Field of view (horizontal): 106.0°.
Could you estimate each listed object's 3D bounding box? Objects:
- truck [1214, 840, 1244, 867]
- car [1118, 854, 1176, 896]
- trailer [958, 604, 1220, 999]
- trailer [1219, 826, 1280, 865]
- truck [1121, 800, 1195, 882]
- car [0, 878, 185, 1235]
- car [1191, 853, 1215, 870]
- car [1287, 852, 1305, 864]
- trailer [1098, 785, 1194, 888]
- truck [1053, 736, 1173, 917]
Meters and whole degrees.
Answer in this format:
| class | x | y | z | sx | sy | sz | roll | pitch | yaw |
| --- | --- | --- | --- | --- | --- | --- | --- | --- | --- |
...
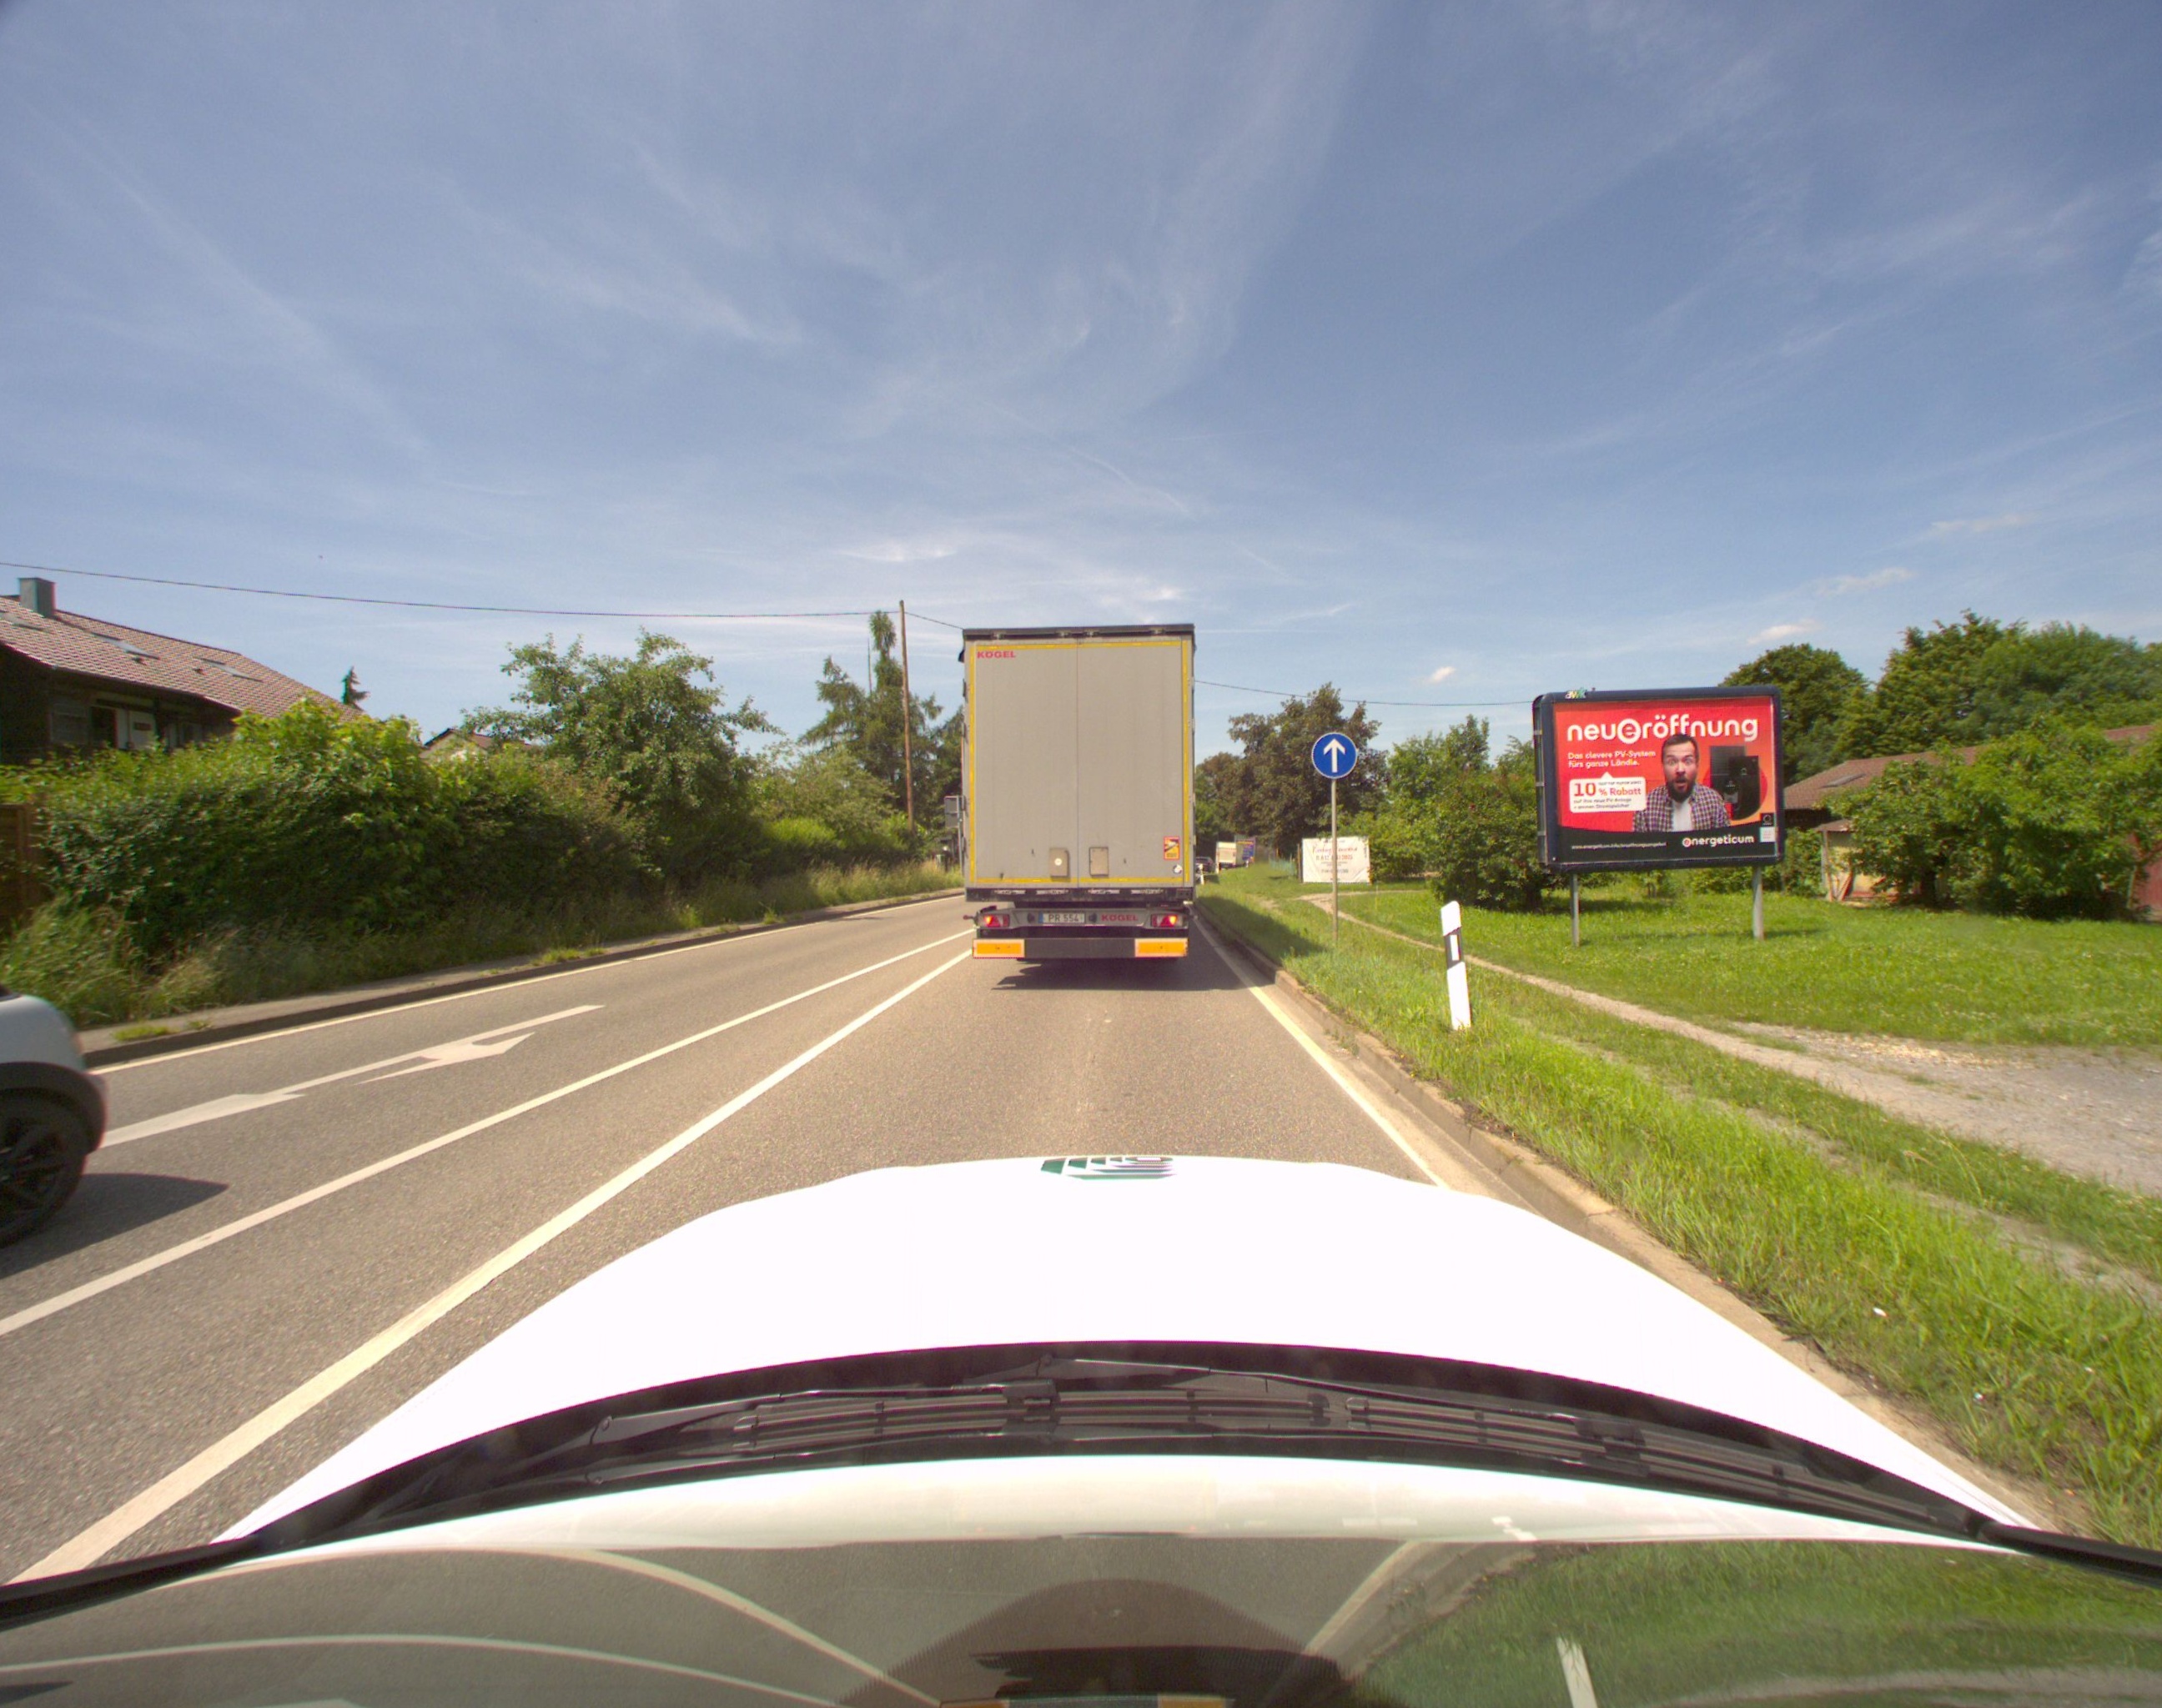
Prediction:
| class | x | y | z | sx | sy | sz | roll | pitch | yaw |
| --- | --- | --- | --- | --- | --- | --- | --- | --- | --- |
| truck | 15.927 | -0.102 | 87.598 | 2.401 | 2.838 | 5.438 | -1 | 0 | 18 |
| car | 2.700 | 0.803 | 32.536 | 1.982 | 1.530 | 4.010 | -1 | 0 | 9 |
| trailer | 0.537 | -0.609 | 14.804 | 2.774 | 4.205 | 12.126 | -1 | 1 | 4 |
| trailer | 21.742 | -1.089 | 103.785 | 5.136 | 4.628 | 15.977 | -1 | 1 | 20 |
| truck | 4.834 | -0.718 | 49.519 | 3.914 | 4.574 | 7.170 | -1 | 0 | 9 |
| car | -5.148 | 0.834 | 2.088 | 1.615 | 1.381 | 3.564 | -1 | 0 | 4 |
| car | 11.119 | 0.667 | 73.892 | 1.828 | 1.486 | 4.015 | -1 | 0 | 13 |
| car | 33.256 | 0.648 | 125.631 | 1.975 | 1.684 | 4.023 | -1 | 0 | 25 |
| trailer | 3.753 | -0.762 | 42.589 | 3.868 | 4.521 | 12.745 | -1 | 0 | 9 |
| truck | 1.091 | -0.664 | 21.995 | 2.731 | 4.165 | 6.154 | -1 | 0 | 6 |
